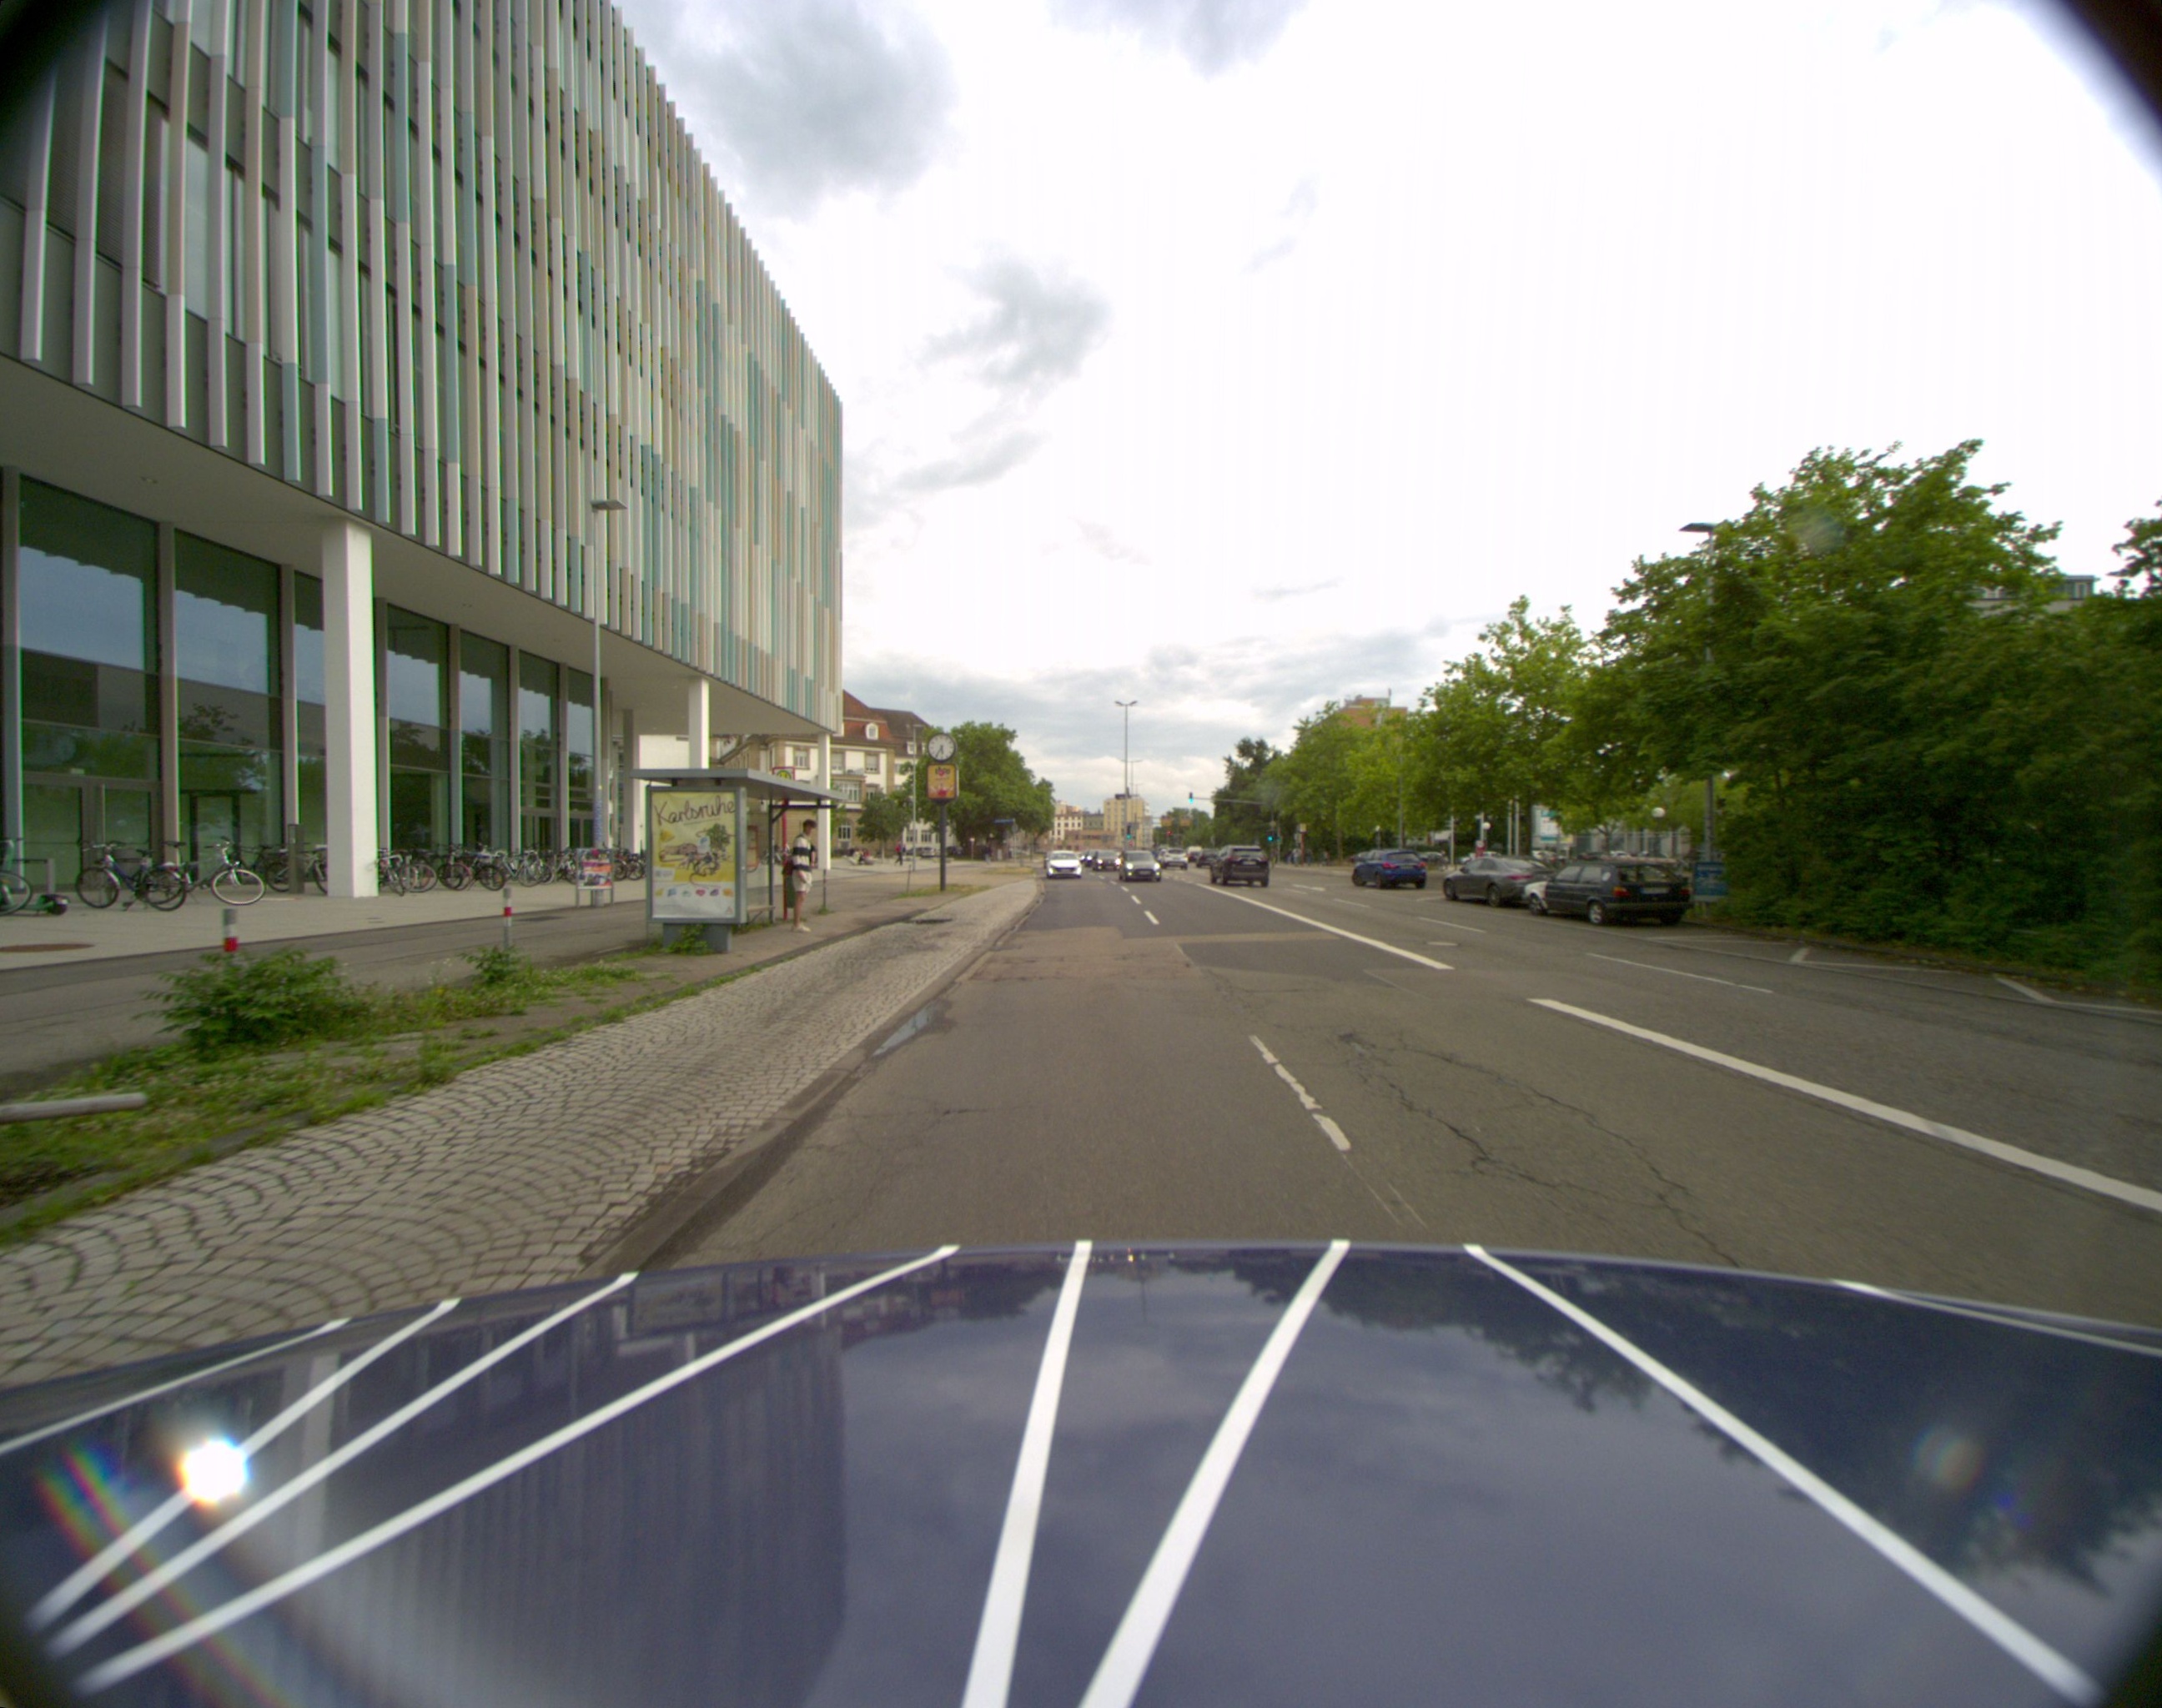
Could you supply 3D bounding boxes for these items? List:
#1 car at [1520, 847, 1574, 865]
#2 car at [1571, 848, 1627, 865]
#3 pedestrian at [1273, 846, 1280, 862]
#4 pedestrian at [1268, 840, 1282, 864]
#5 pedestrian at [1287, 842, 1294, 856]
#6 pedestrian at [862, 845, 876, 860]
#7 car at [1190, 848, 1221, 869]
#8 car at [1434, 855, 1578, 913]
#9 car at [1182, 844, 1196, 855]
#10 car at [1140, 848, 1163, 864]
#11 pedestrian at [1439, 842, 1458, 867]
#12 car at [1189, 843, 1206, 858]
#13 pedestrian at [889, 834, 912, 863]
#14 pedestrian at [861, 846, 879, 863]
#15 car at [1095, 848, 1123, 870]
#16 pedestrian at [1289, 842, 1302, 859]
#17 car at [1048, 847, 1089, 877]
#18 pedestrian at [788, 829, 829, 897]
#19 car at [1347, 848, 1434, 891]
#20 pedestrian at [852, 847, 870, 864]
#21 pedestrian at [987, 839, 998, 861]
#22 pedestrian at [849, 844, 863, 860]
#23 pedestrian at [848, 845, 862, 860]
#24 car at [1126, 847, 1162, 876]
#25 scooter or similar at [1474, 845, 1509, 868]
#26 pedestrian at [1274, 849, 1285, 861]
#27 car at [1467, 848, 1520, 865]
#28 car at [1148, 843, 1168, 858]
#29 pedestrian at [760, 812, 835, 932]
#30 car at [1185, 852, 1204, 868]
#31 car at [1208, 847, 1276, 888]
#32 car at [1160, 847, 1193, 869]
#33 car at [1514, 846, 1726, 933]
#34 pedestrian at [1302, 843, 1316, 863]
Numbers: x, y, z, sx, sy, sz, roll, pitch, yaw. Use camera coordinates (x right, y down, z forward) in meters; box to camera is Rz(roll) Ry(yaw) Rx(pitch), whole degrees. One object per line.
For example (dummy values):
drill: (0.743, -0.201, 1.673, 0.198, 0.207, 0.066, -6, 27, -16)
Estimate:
car: (44.556, 0.210, 72.683, 3.997, 1.674, 1.853, 0, 1, 0)
car: (49.413, 0.237, 72.576, 3.996, 1.544, 1.889, 0, 1, 1)
pedestrian: (21.191, -0.008, 82.181, 0.590, 1.685, 0.653, 1, 1, 4)
pedestrian: (16.086, -0.171, 63.049, 0.896, 2.002, 1.009, 0, 1, -1)
pedestrian: (24.752, -0.557, 89.757, 0.503, 1.597, 0.601, -4, 2, -10)
pedestrian: (-18.075, -0.139, 64.765, 0.911, 1.250, 0.879, -2, 1, 4)
car: (10.644, 0.362, 65.117, 1.998, 1.684, 4.468, 1, 1, 1)
car: (12.210, 0.788, 22.256, 1.878, 1.416, 4.729, -2, 0, 5)
car: (16.569, -0.712, 116.621, 1.997, 1.610, 4.002, 0, 1, 8)
car: (6.946, 0.178, 75.283, 1.908, 1.457, 4.910, -2, 1, 1)
pedestrian: (29.345, 0.045, 60.659, 0.796, 2.002, 1.095, 0, 1, -16)
car: (14.736, -0.418, 96.221, 1.775, 1.837, 4.490, -2, 1, 6)
pedestrian: (-12.941, -0.376, 54.560, 1.183, 2.050, 1.136, -2, 1, 10)
pedestrian: (-15.310, 0.013, 55.058, 0.843, 1.199, 0.896, 1, 1, 35)
car: (1.964, 0.318, 52.482, 1.731, 1.450, 4.001, 0, 1, 5)
pedestrian: (25.155, -0.374, 89.077, 1.043, 2.002, 1.098, -2, 1, -30)
car: (-0.653, 0.396, 41.528, 1.813, 1.533, 4.001, 0, 1, 5)
pedestrian: (-8.258, 0.256, 23.077, 0.844, 2.002, 0.894, 2, 1, 3)
car: (12.623, 0.565, 31.311, 1.863, 1.598, 4.593, -2, 1, 3)
pedestrian: (-15.772, 0.109, 54.472, 0.892, 1.186, 0.846, 1, 1, 15)
pedestrian: (-8.141, -0.328, 69.768, 0.844, 2.002, 0.894, 0, 1, 3)
pedestrian: (-18.817, -0.163, 63.505, 0.912, 1.359, 0.878, -2, 1, -9)
pedestrian: (-19.237, -0.104, 64.669, 0.911, 1.250, 0.879, -2, 1, 4)
car: (3.012, 0.314, 36.205, 1.624, 1.310, 3.706, 0, 1, 5)
scooter or similar: (22.097, 0.123, 40.935, 1.578, 1.237, 0.566, 0, 1, 1)
pedestrian: (22.322, 0.113, 85.465, 0.701, 1.420, 0.998, -2, 1, -27)
car: (39.346, 0.225, 72.586, 3.997, 1.570, 2.000, -2, 1, 0)
car: (9.009, -0.389, 89.123, 1.998, 1.677, 4.948, -1, 0, 2)
pedestrian: (-4.950, 0.320, 13.312, 0.914, 2.001, 0.854, 2, -1, 0)
car: (13.056, 0.688, 87.485, 1.702, 1.680, 4.000, 1, 1, 1)
car: (6.608, 0.493, 31.685, 1.907, 1.584, 4.516, 1, 1, 1)
car: (7.123, 0.237, 57.170, 1.998, 1.538, 4.179, 2, 1, 1)
car: (11.991, 0.696, 17.285, 1.998, 1.680, 4.000, -3, 1, 1)
pedestrian: (20.931, -0.095, 69.716, 0.897, 1.793, 0.935, 1, 1, -2)
